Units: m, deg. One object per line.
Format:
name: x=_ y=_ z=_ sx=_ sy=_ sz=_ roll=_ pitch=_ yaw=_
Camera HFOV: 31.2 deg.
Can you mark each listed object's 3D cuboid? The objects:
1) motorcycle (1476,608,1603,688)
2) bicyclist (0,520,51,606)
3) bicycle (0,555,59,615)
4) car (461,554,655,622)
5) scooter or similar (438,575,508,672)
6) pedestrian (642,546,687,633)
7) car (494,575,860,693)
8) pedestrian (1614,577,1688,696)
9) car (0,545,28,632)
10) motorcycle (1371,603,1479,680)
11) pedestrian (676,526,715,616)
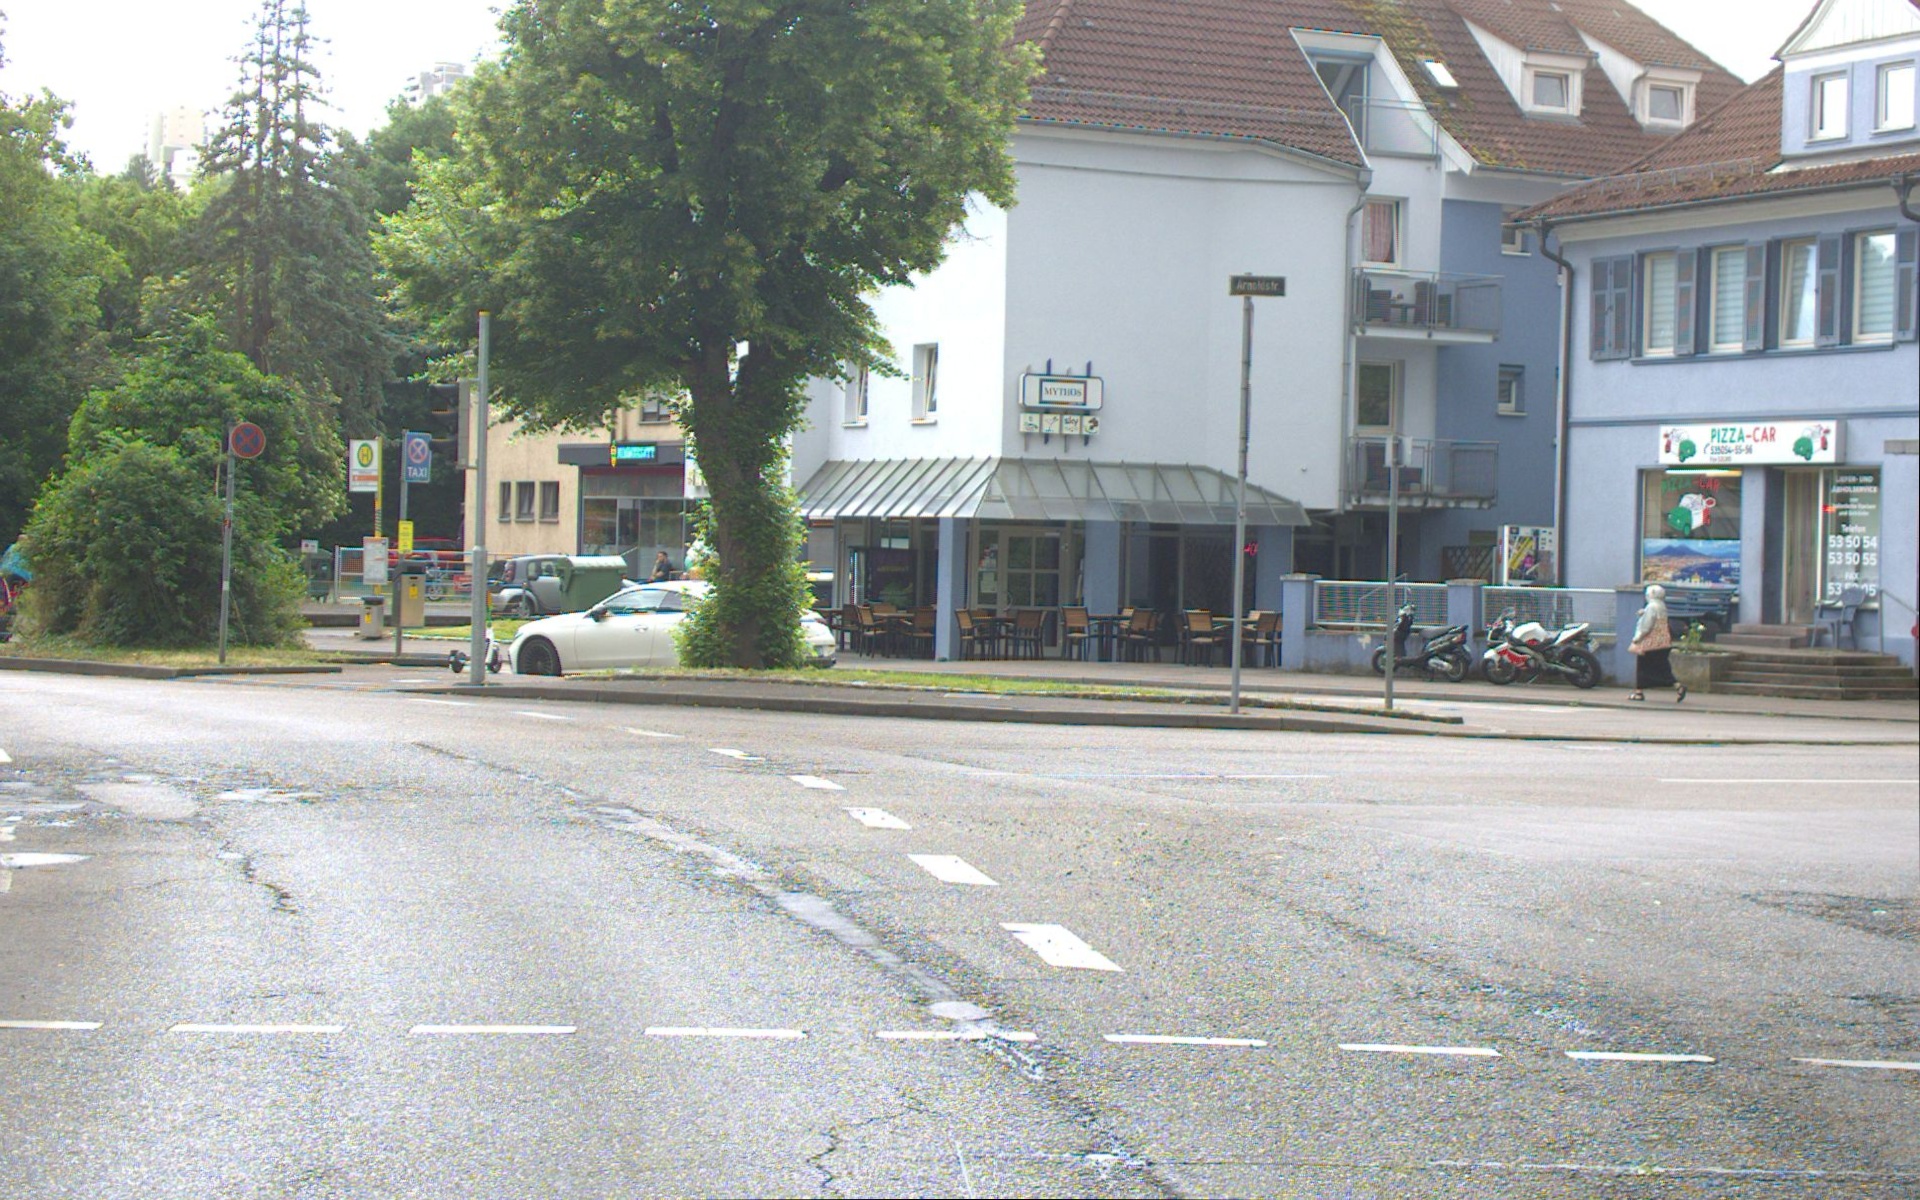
motorcycle: x=8.153 y=0.666 z=48.358 sx=1.628 sy=1.085 sz=0.626 roll=1 pitch=1 yaw=32
bicyclist: x=-18.427 y=-0.727 z=67.233 sx=0.915 sy=1.646 sz=0.988 roll=1 pitch=1 yaw=7
bicycle: x=-18.435 y=-0.296 z=67.291 sx=0.874 sy=1.145 sz=1.952 roll=1 pitch=1 yaw=7
car: x=-8.852 y=-0.264 z=75.625 sx=3.936 sy=1.437 sz=1.753 roll=1 pitch=1 yaw=-20
scooter or similar: x=-6.027 y=0.286 z=42.611 sx=0.442 sy=1.171 sz=1.437 roll=1 pitch=1 yaw=9
pedestrian: x=-6.936 y=-0.249 z=80.657 sx=0.837 sy=2.007 sz=1.056 roll=1 pitch=1 yaw=-14
car: x=-3.801 y=0.424 z=45.756 sx=4.709 sy=1.405 sz=1.898 roll=2 pitch=1 yaw=35
pedestrian: x=9.195 y=0.478 z=45.730 sx=0.732 sy=1.554 sz=0.767 roll=1 pitch=0 yaw=31
car: x=-16.416 y=-0.213 z=53.516 sx=3.322 sy=1.347 sz=1.778 roll=1 pitch=1 yaw=27
motorcycle: x=6.777 y=0.594 z=50.128 sx=1.458 sy=1.085 sz=0.523 roll=1 pitch=1 yaw=35
pedestrian: x=-4.544 y=-0.499 z=59.162 sx=0.543 sy=1.554 sz=0.467 roll=0 pitch=0 yaw=13
